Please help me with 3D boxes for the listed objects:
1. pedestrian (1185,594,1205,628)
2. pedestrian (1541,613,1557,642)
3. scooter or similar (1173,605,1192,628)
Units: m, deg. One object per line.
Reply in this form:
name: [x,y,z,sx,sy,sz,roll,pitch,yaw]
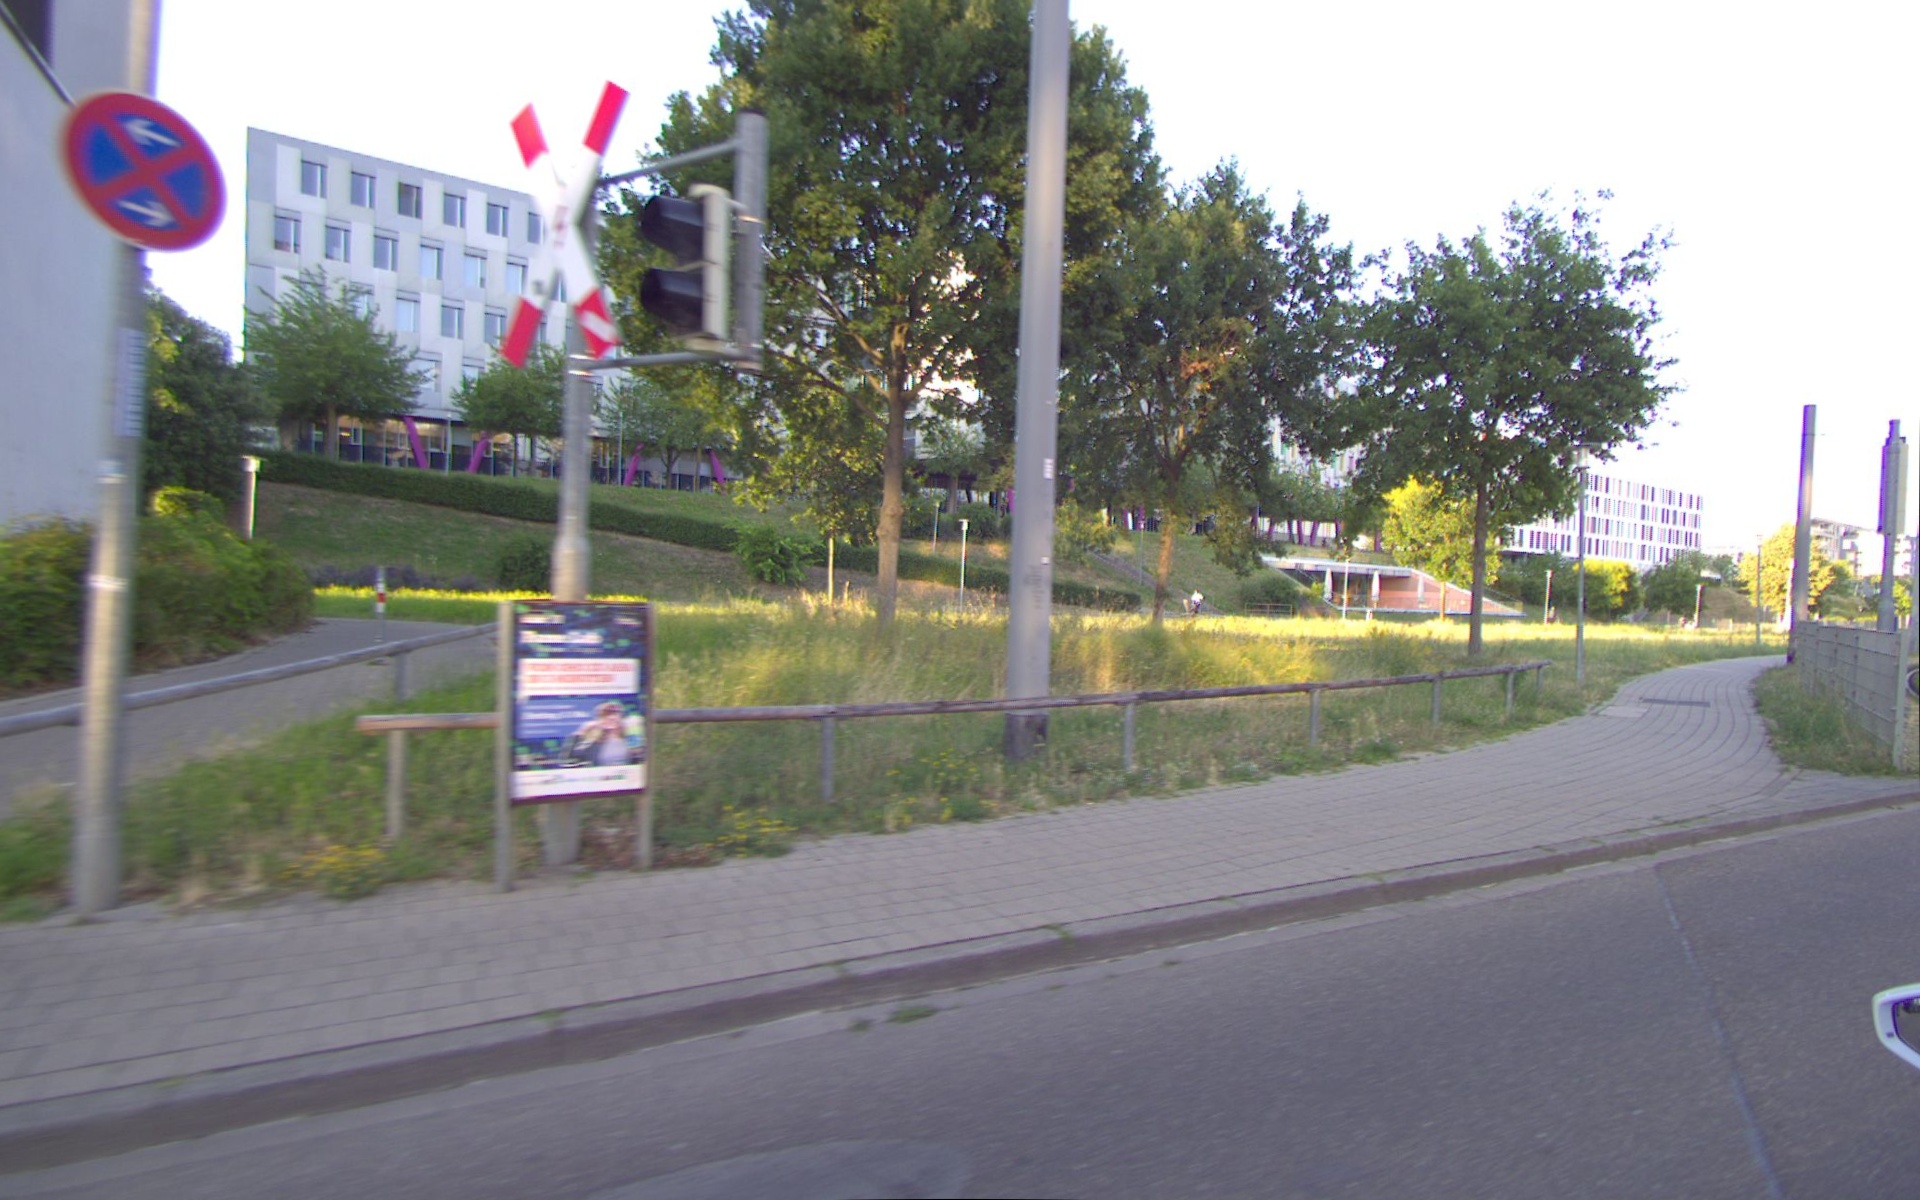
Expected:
pedestrian: [13.393,0.646,57.241,0.781,1.861,0.613,2,3,-30]
pedestrian: [44.933,2.105,76.673,0.781,2.110,0.613,2,3,-30]
scooter or similar: [12.598,0.918,56.774,0.781,1.260,0.613,2,3,-30]
